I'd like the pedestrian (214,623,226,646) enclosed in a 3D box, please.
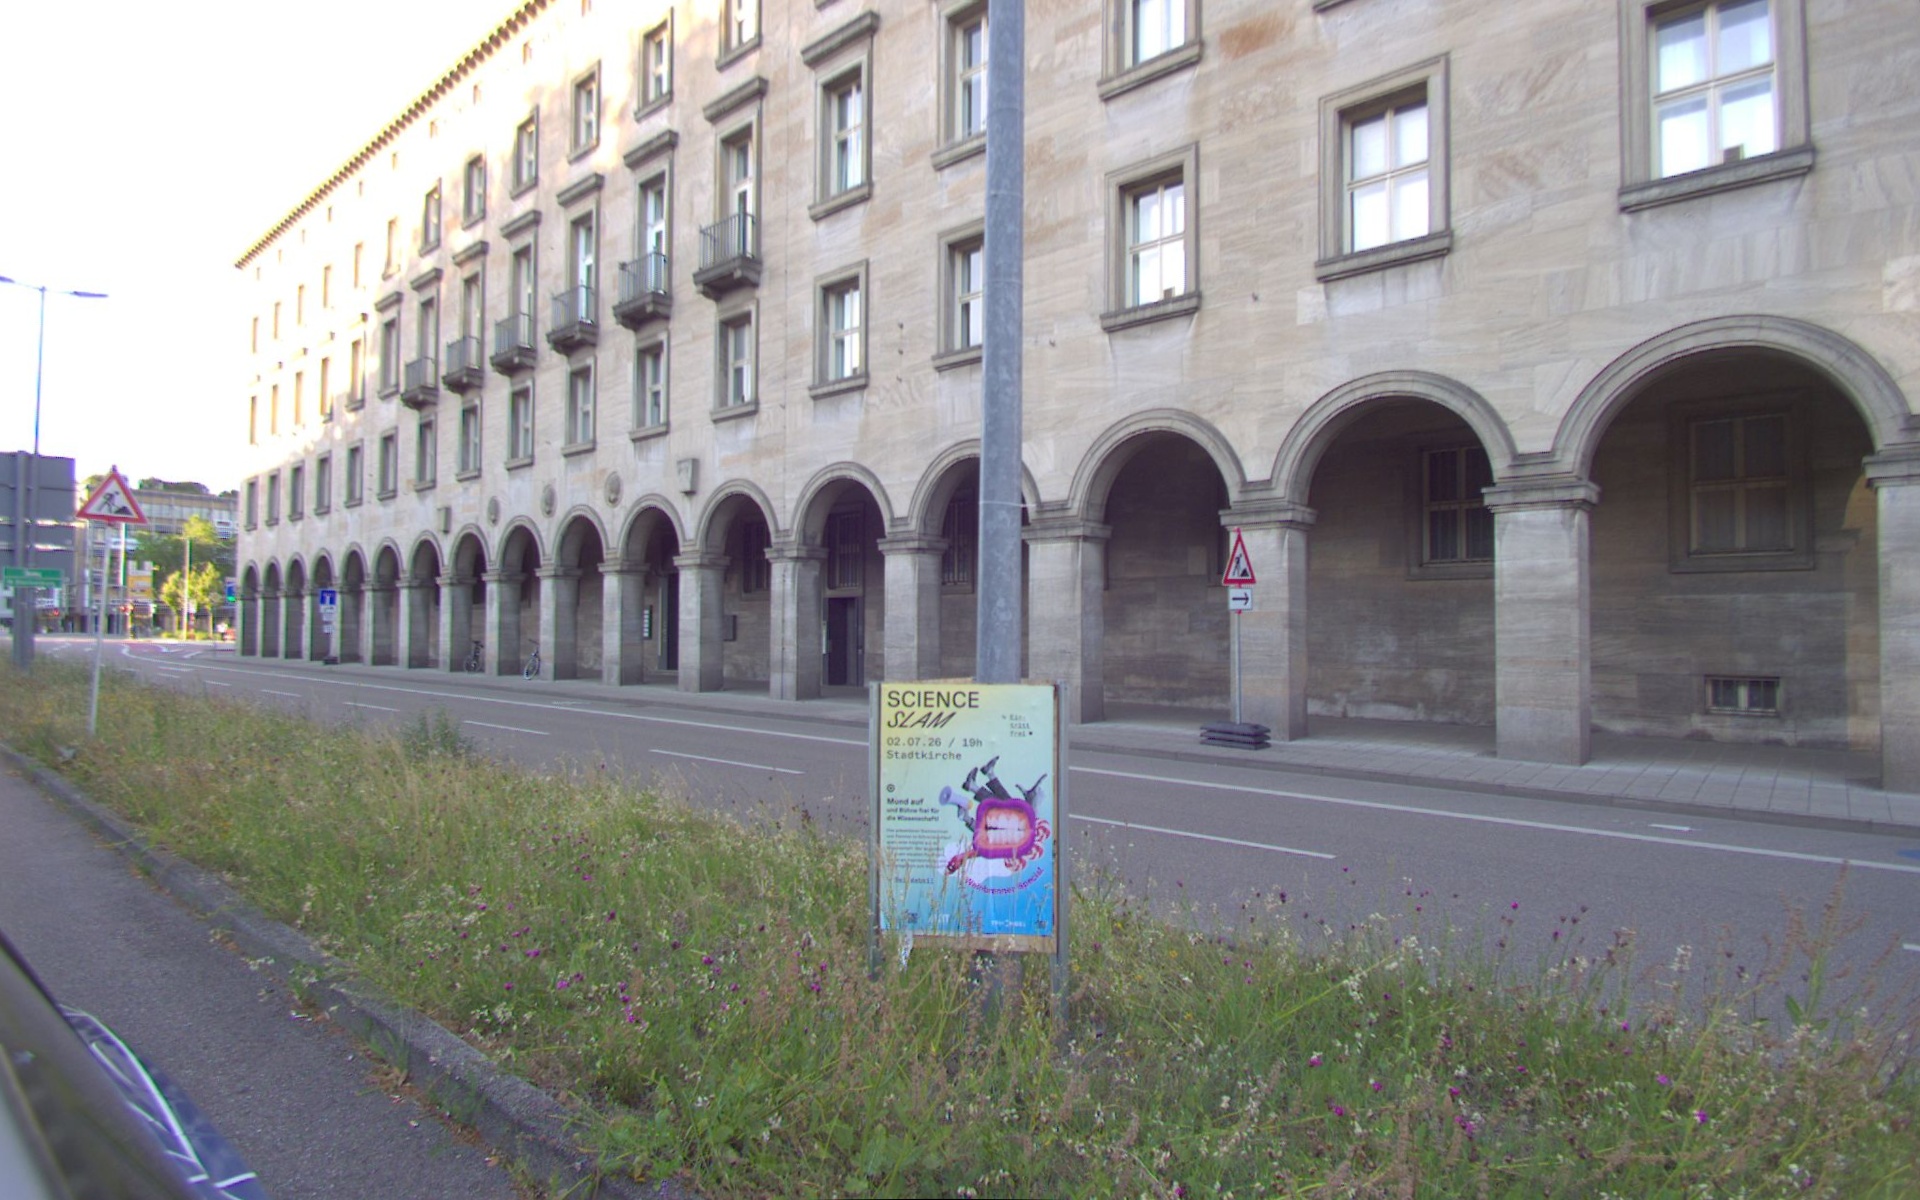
[{"bbox_3d":[-59.210,2.754,80.946,0.506,1.771,0.630,-2,-3,41],"label":"pedestrian"}]

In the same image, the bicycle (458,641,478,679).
[{"bbox_3d":[-16.155,1.941,33.248,0.505,1.188,2.431,1,-2,-25],"label":"bicycle"}]

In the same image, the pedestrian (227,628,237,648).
[{"bbox_3d":[-58.576,3.063,81.404,0.389,1.553,0.519,-2,-3,41],"label":"pedestrian"}]

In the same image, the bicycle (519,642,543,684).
[{"bbox_3d":[-12.747,1.852,30.106,0.505,1.130,2.431,1,-1,-20],"label":"bicycle"}]
